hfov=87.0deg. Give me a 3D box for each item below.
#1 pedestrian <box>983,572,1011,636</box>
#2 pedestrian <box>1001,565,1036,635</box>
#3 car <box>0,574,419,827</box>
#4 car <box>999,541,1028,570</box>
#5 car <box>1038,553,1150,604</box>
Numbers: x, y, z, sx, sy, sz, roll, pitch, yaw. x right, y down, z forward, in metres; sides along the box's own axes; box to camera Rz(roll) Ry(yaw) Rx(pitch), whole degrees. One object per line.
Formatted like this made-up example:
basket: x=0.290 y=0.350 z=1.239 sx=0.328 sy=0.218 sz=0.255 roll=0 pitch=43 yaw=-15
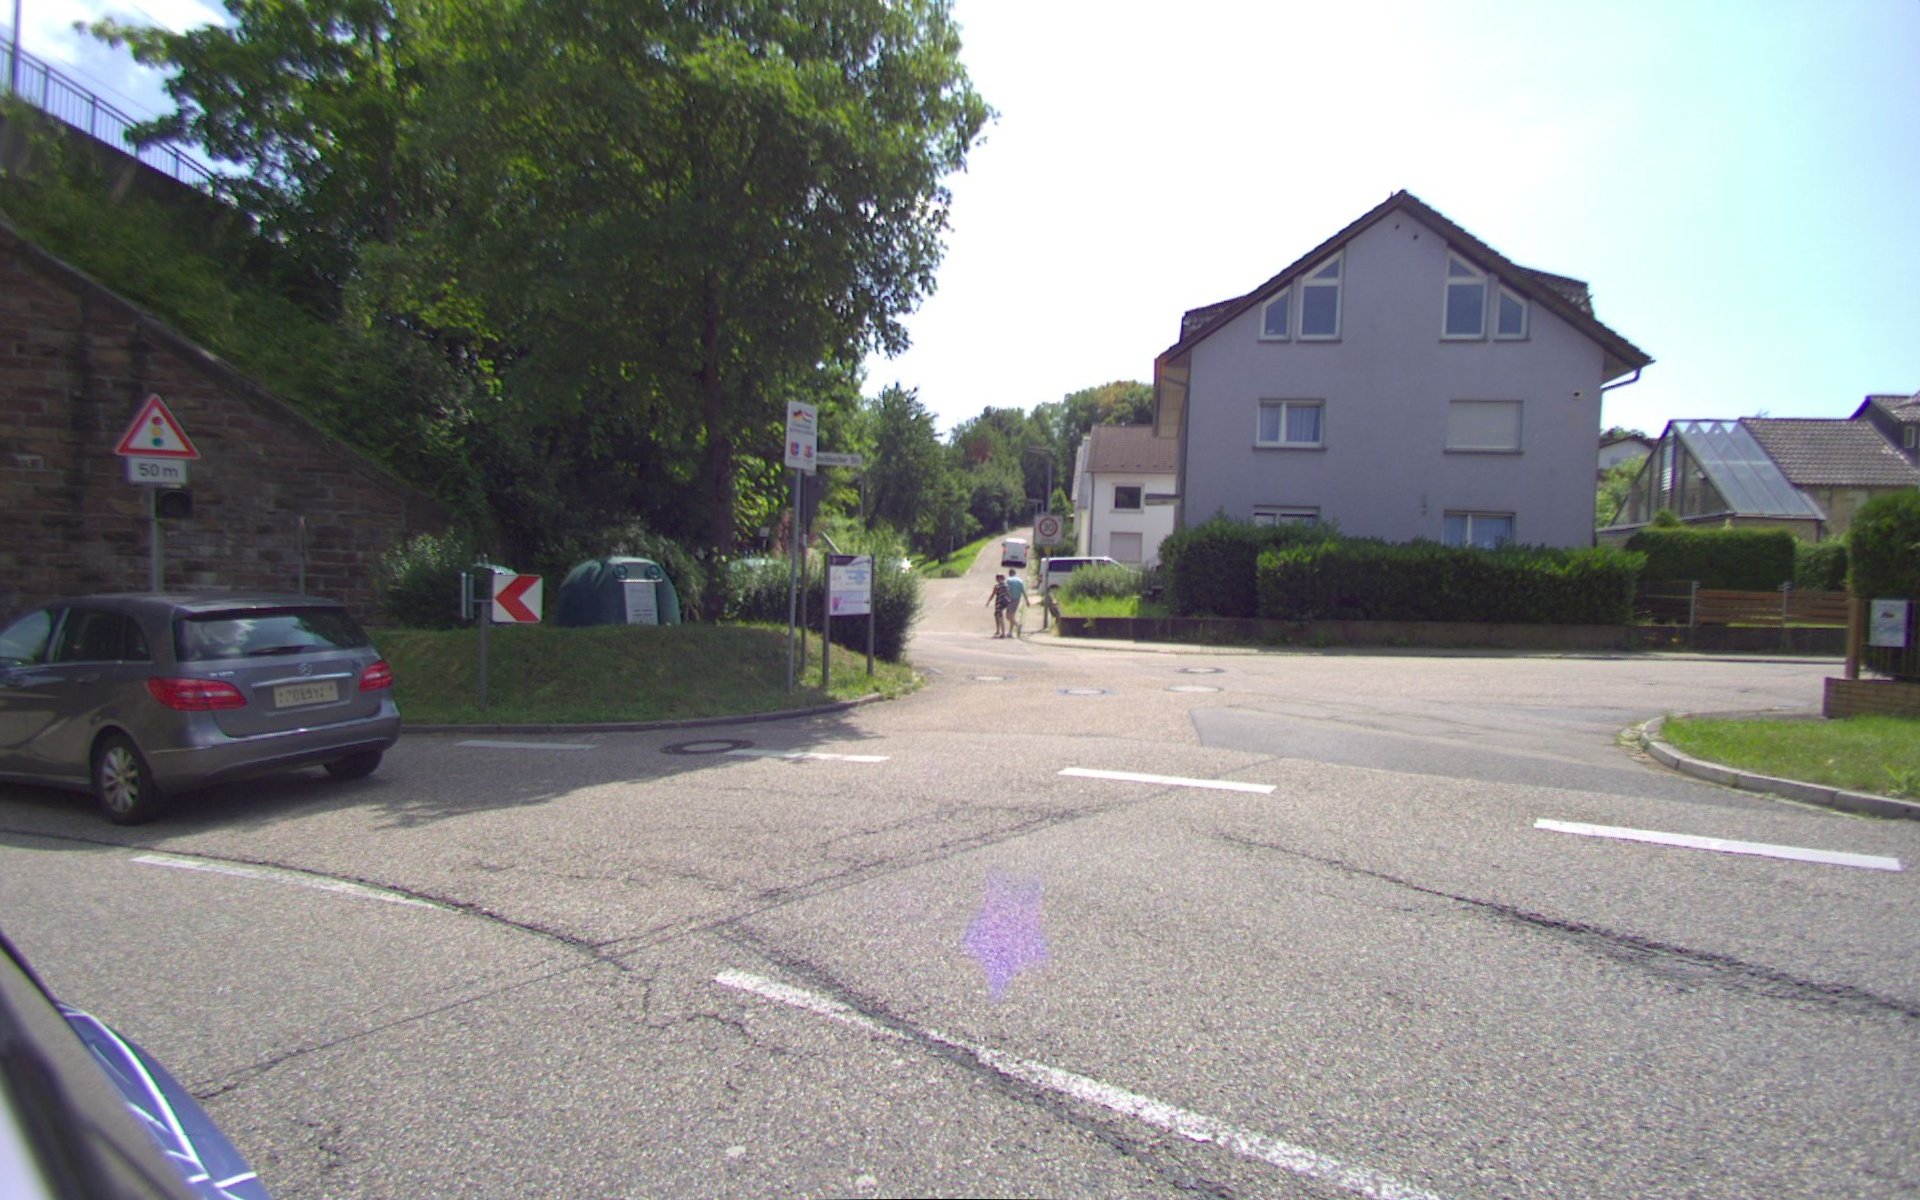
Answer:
pedestrian: x=0.921 y=0.091 z=25.383 sx=0.565 sy=1.566 sz=0.600 roll=-1 pitch=1 yaw=-10
pedestrian: x=1.488 y=-0.012 z=25.805 sx=0.676 sy=1.725 sz=0.791 roll=-1 pitch=1 yaw=-10
car: x=-6.429 y=0.673 z=7.967 sx=4.106 sy=1.567 sz=1.709 roll=-2 pitch=1 yaw=26
car: x=4.202 y=-3.499 z=80.366 sx=1.971 sy=2.029 sz=4.713 roll=-1 pitch=0 yaw=-1
car: x=5.806 y=-0.910 z=44.029 sx=4.658 sy=2.029 sz=1.995 roll=-1 pitch=0 yaw=9
